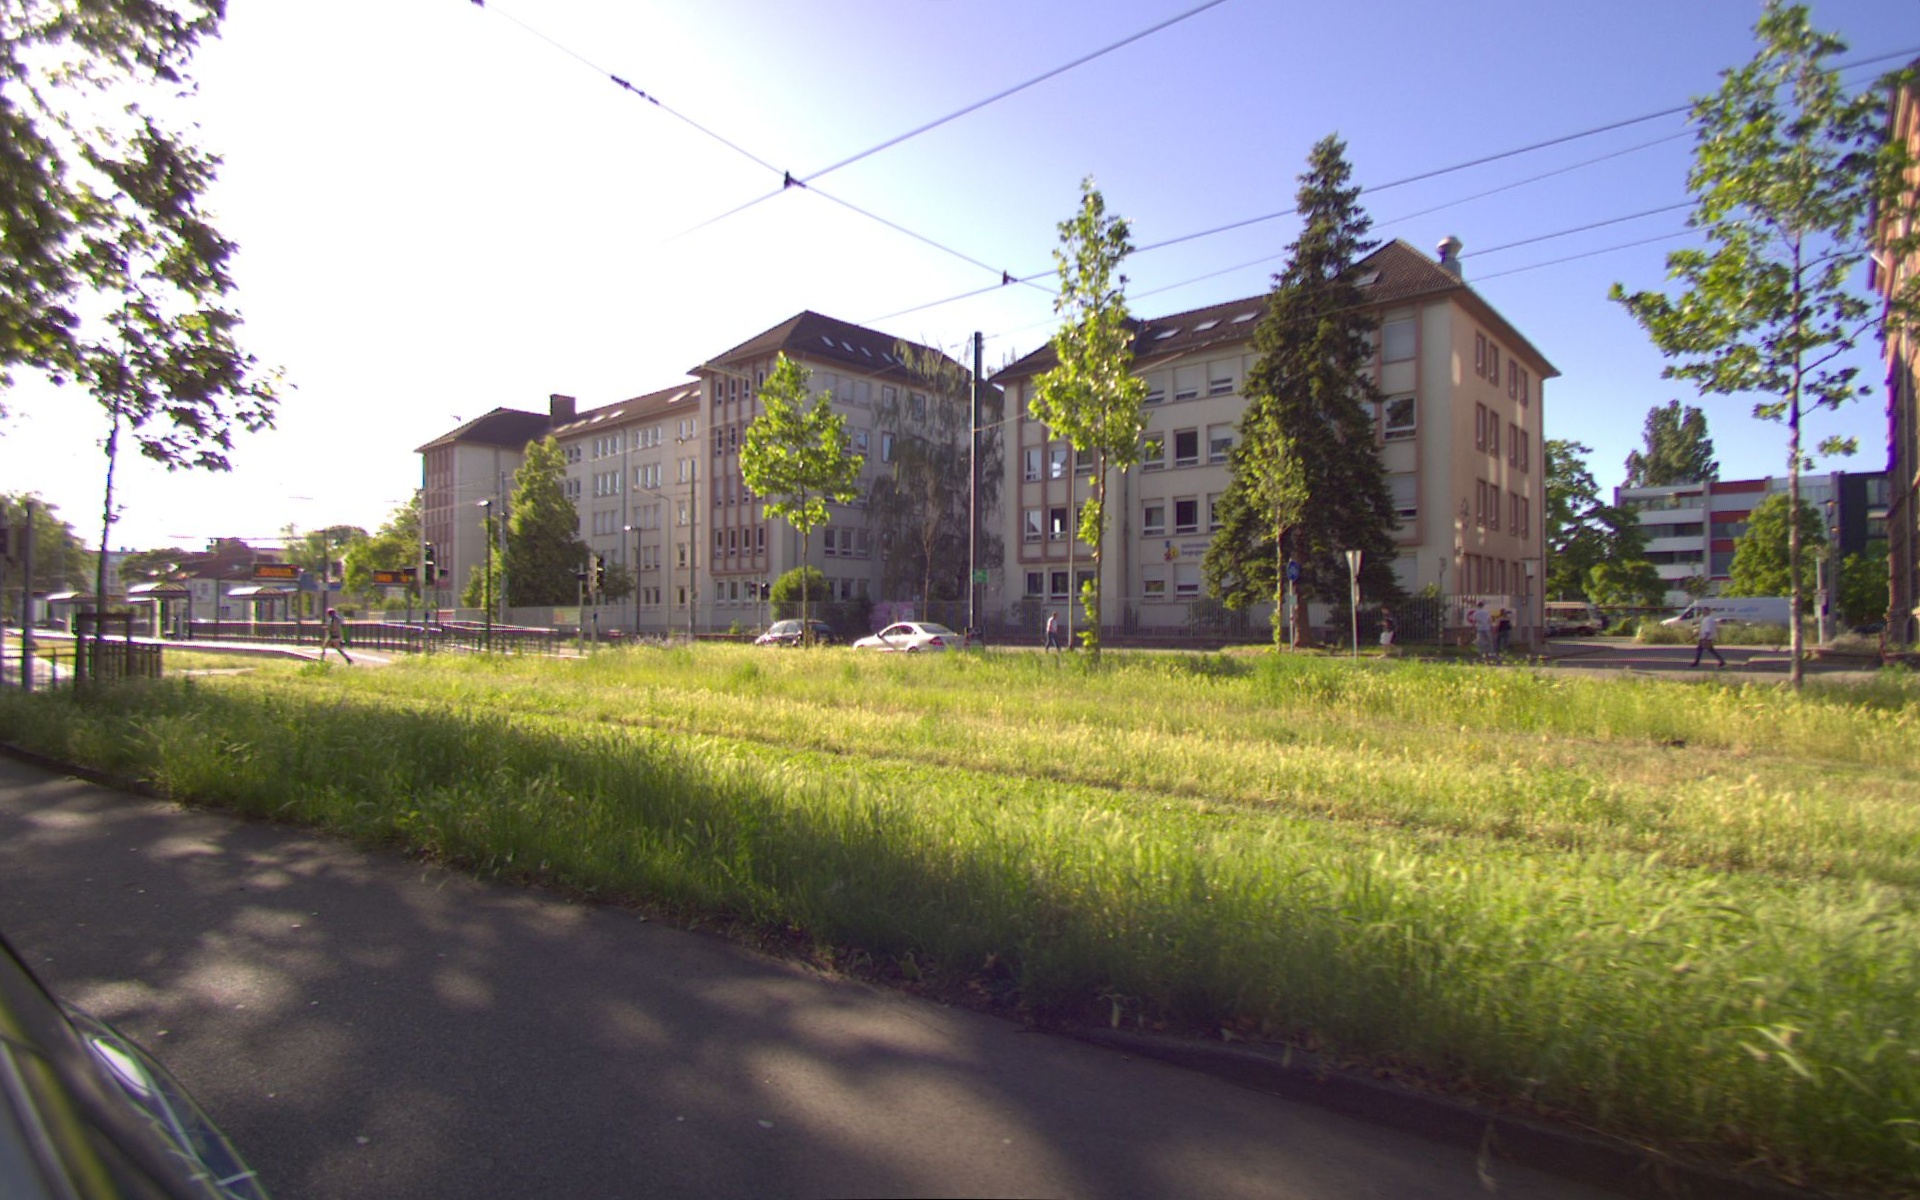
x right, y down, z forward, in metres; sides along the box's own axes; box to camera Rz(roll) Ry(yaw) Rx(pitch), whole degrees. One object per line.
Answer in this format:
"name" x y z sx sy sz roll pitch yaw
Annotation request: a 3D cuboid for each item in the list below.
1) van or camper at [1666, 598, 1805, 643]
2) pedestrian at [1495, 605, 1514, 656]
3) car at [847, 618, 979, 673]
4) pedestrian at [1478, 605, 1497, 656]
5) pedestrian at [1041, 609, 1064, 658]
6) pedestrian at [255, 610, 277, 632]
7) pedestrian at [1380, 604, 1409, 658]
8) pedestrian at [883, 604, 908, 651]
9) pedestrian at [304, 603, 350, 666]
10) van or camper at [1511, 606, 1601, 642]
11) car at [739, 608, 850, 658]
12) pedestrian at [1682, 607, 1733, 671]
"van or camper" 47.694 1.270 62.379 6.662 2.663 1.973 -1 -1 40
"pedestrian" 18.255 1.019 33.932 0.371 1.708 0.449 1 -2 -42
"car" -1.578 1.392 32.399 1.744 1.635 4.480 1 -1 -43
"pedestrian" 17.566 1.013 33.728 0.371 1.708 0.449 1 -2 -43
"pedestrian" 3.575 1.295 39.031 0.572 1.851 0.685 -1 -2 40
"pedestrian" -43.453 1.321 63.380 0.878 1.386 0.965 -1 -1 40
"pedestrian" 13.929 0.988 32.438 0.819 1.708 0.677 -1 -1 22
"pedestrian" -2.819 1.203 44.081 0.860 2.029 0.656 -1 -2 40
"pedestrian" -18.119 0.977 28.976 0.730 1.749 0.942 -1 -2 43
"van or camper" 45.503 1.821 77.322 5.629 2.663 1.973 -1 -1 41
"car" -6.103 1.171 37.122 4.151 1.720 1.971 -1 -2 45
"pedestrian" 20.199 1.046 27.374 0.875 1.708 0.679 -1 -1 13
